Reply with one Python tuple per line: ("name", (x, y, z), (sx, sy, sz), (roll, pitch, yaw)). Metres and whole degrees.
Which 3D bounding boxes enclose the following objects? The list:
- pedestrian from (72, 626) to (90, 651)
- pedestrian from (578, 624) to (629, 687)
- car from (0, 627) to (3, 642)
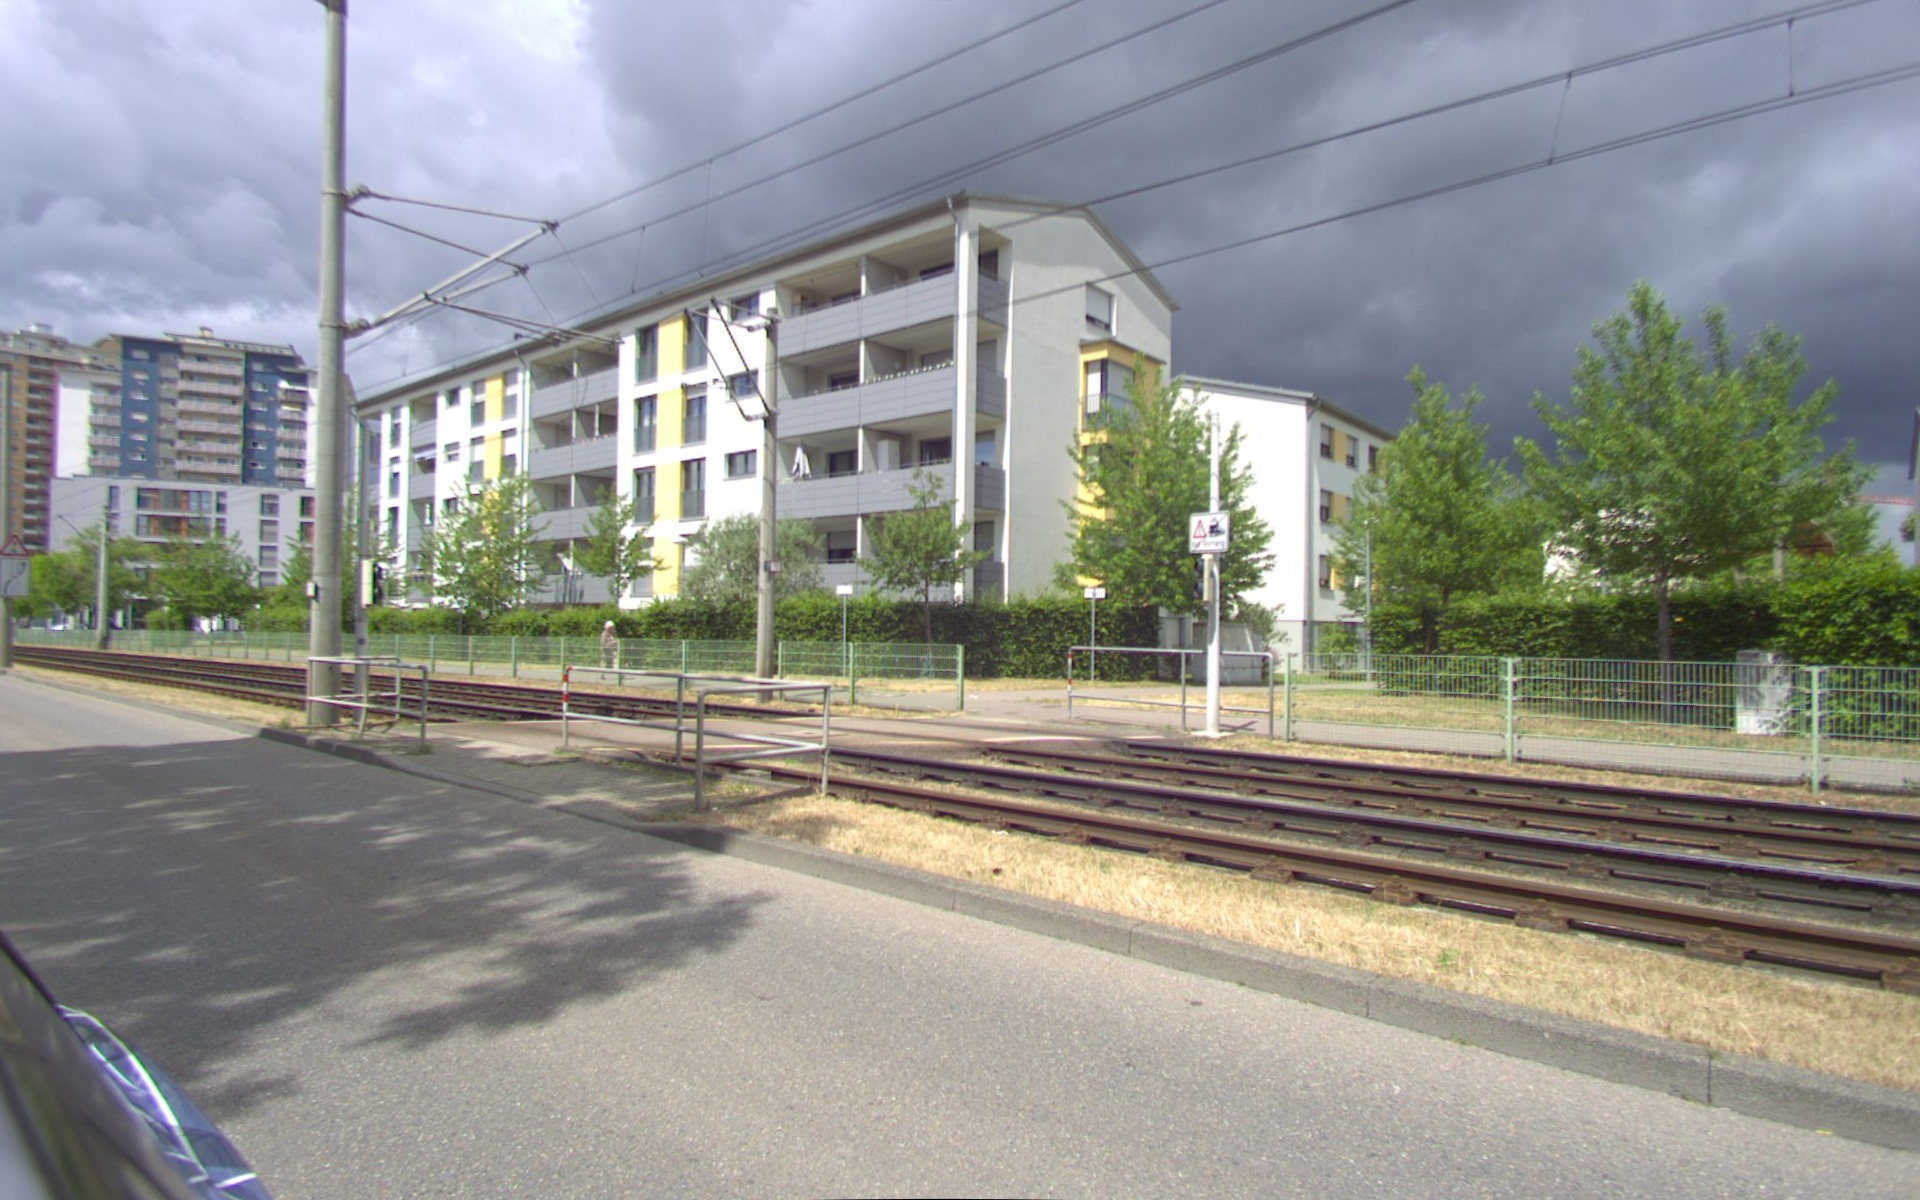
("pedestrian", (-58.262, 2.555, 67.082), (0.937, 1.625, 0.747), (-1, -2, 39))
("pedestrian", (-8.809, 1.354, 25.011), (0.994, 1.494, 0.788), (-1, -2, 39))
("car", (-101.721, 3.567, 105.861), (3.799, 1.551, 1.759), (-1, -2, 39))
